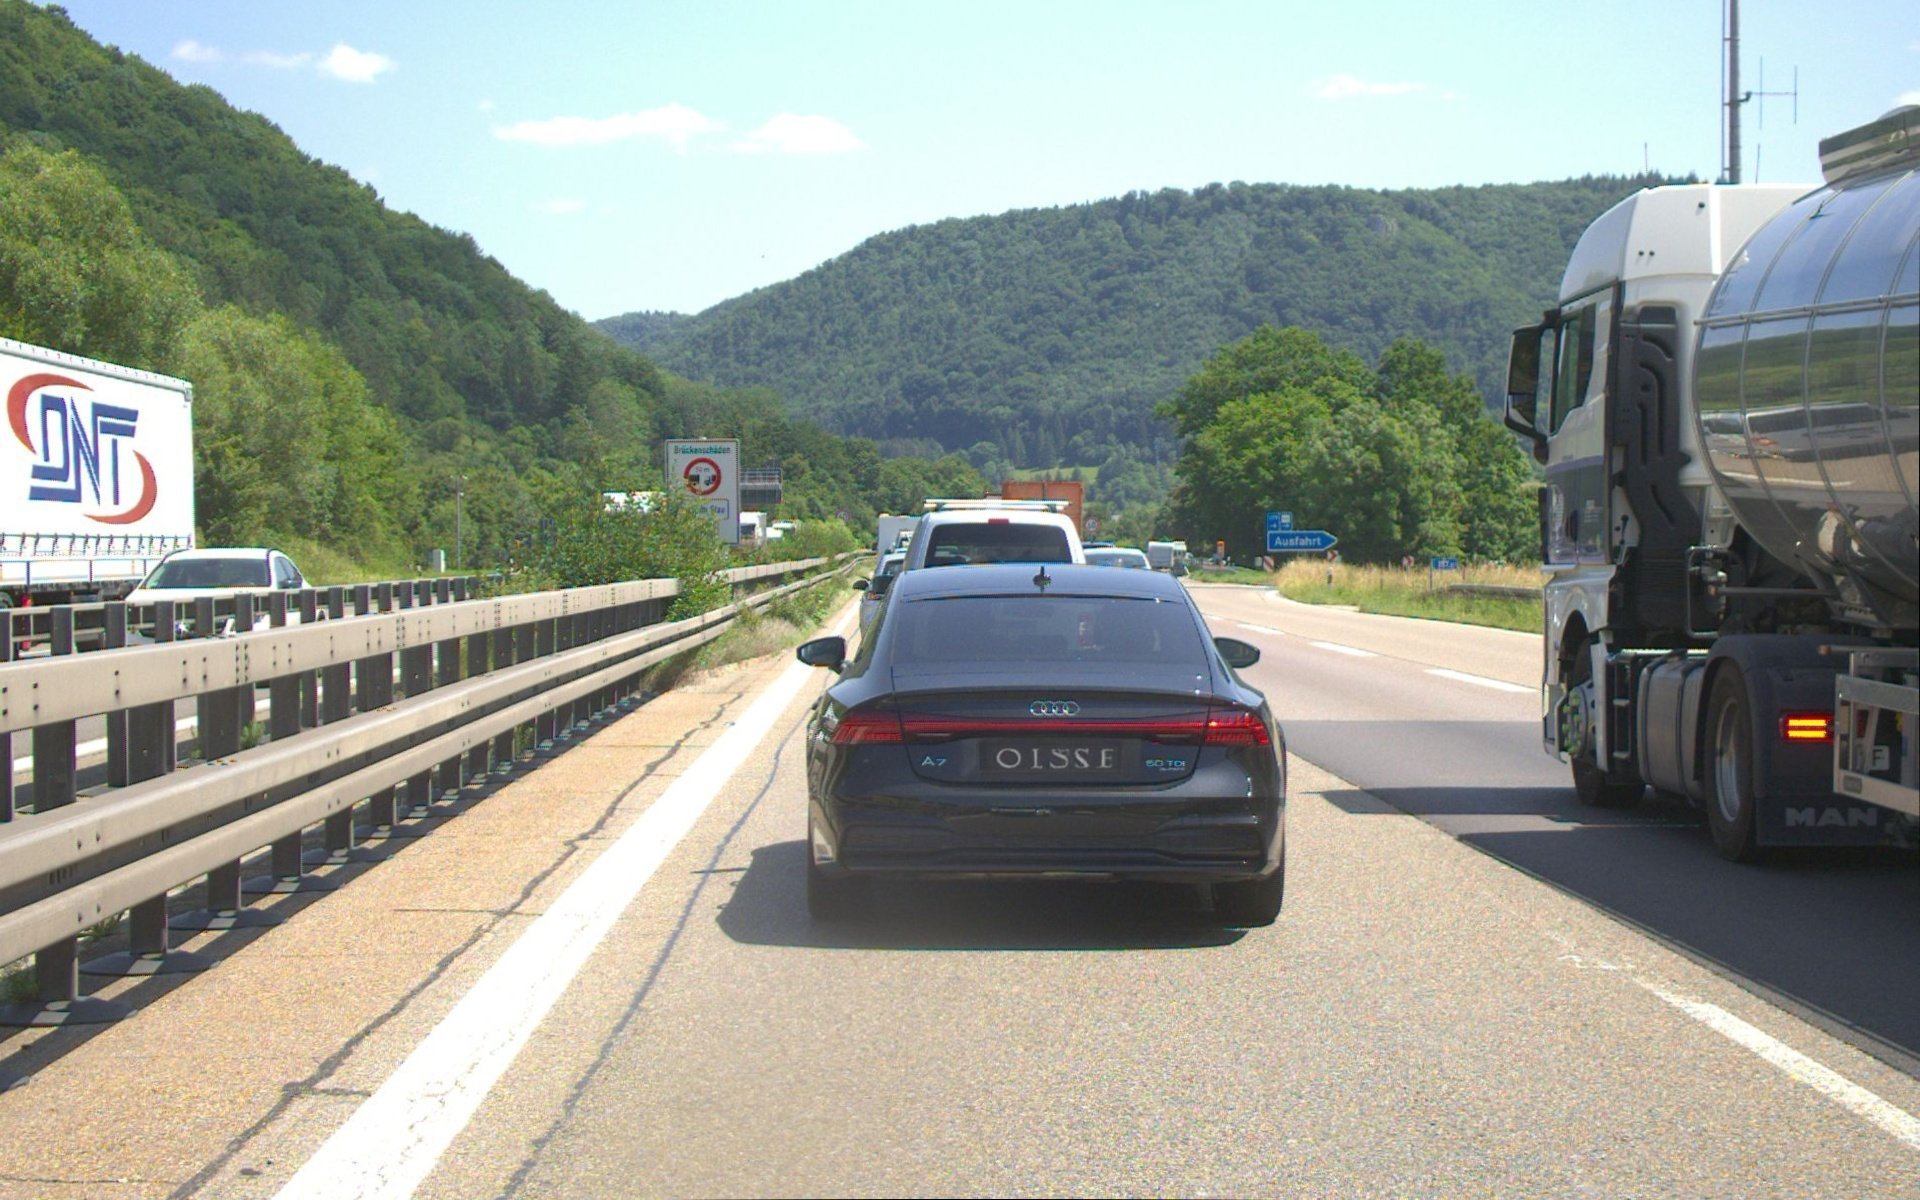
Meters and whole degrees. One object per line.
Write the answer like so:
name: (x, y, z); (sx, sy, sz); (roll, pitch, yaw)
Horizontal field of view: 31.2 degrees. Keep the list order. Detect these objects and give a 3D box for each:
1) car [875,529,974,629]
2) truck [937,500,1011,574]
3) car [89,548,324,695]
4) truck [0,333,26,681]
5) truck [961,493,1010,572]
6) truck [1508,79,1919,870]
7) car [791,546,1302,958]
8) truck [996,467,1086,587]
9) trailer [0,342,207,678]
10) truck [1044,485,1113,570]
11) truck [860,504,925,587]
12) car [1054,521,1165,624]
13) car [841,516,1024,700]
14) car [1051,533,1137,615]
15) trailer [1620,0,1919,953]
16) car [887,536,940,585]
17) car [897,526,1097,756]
car: (-0.768, -0.454, 71.509); (1.993, 2.007, 4.000); (0, 1, -1)
truck: (0.962, -3.903, 212.192); (3.794, 4.399, 14.954); (0, 1, 3)
car: (-8.264, 0.202, 38.008); (1.747, 1.513, 4.000); (1, 1, -1)
truck: (-12.721, -1.088, 38.608); (2.909, 4.088, 5.848); (1, 1, -1)
truck: (1.112, -3.052, 157.362); (1.993, 3.435, 11.812); (1, 1, -1)
truck: (4.785, -0.618, 18.974); (2.511, 3.746, 5.246); (1, 1, -1)
car: (0.257, 0.528, 14.593); (1.849, 1.483, 4.083); (1, 1, -2)
truck: (2.796, -2.559, 123.349); (2.817, 3.989, 14.956); (1, 1, 0)
trailer: (-12.908, -1.182, 47.240); (2.856, 4.062, 11.264); (1, 1, -1)
truck: (5.781, -3.506, 169.327); (2.817, 3.989, 14.956); (1, 1, 0)
truck: (-2.847, -2.314, 147.580); (2.628, 3.429, 11.421); (0, 1, 0)
car: (2.961, -0.570, 68.981); (1.993, 2.007, 4.000); (0, 1, -1)
car: (-0.336, 0.062, 39.875); (1.993, 2.007, 4.000); (1, 1, -1)
car: (3.306, -0.662, 85.512); (1.993, 1.996, 4.000); (0, 1, 0)
trailer: (4.945, -0.499, 12.307); (2.538, 3.723, 11.892); (1, 1, -1)
car: (-1.550, -1.345, 115.874); (1.712, 1.613, 4.000); (0, 1, 0)
car: (0.266, 0.303, 29.600); (1.575, 1.827, 4.000); (1, 1, -1)
